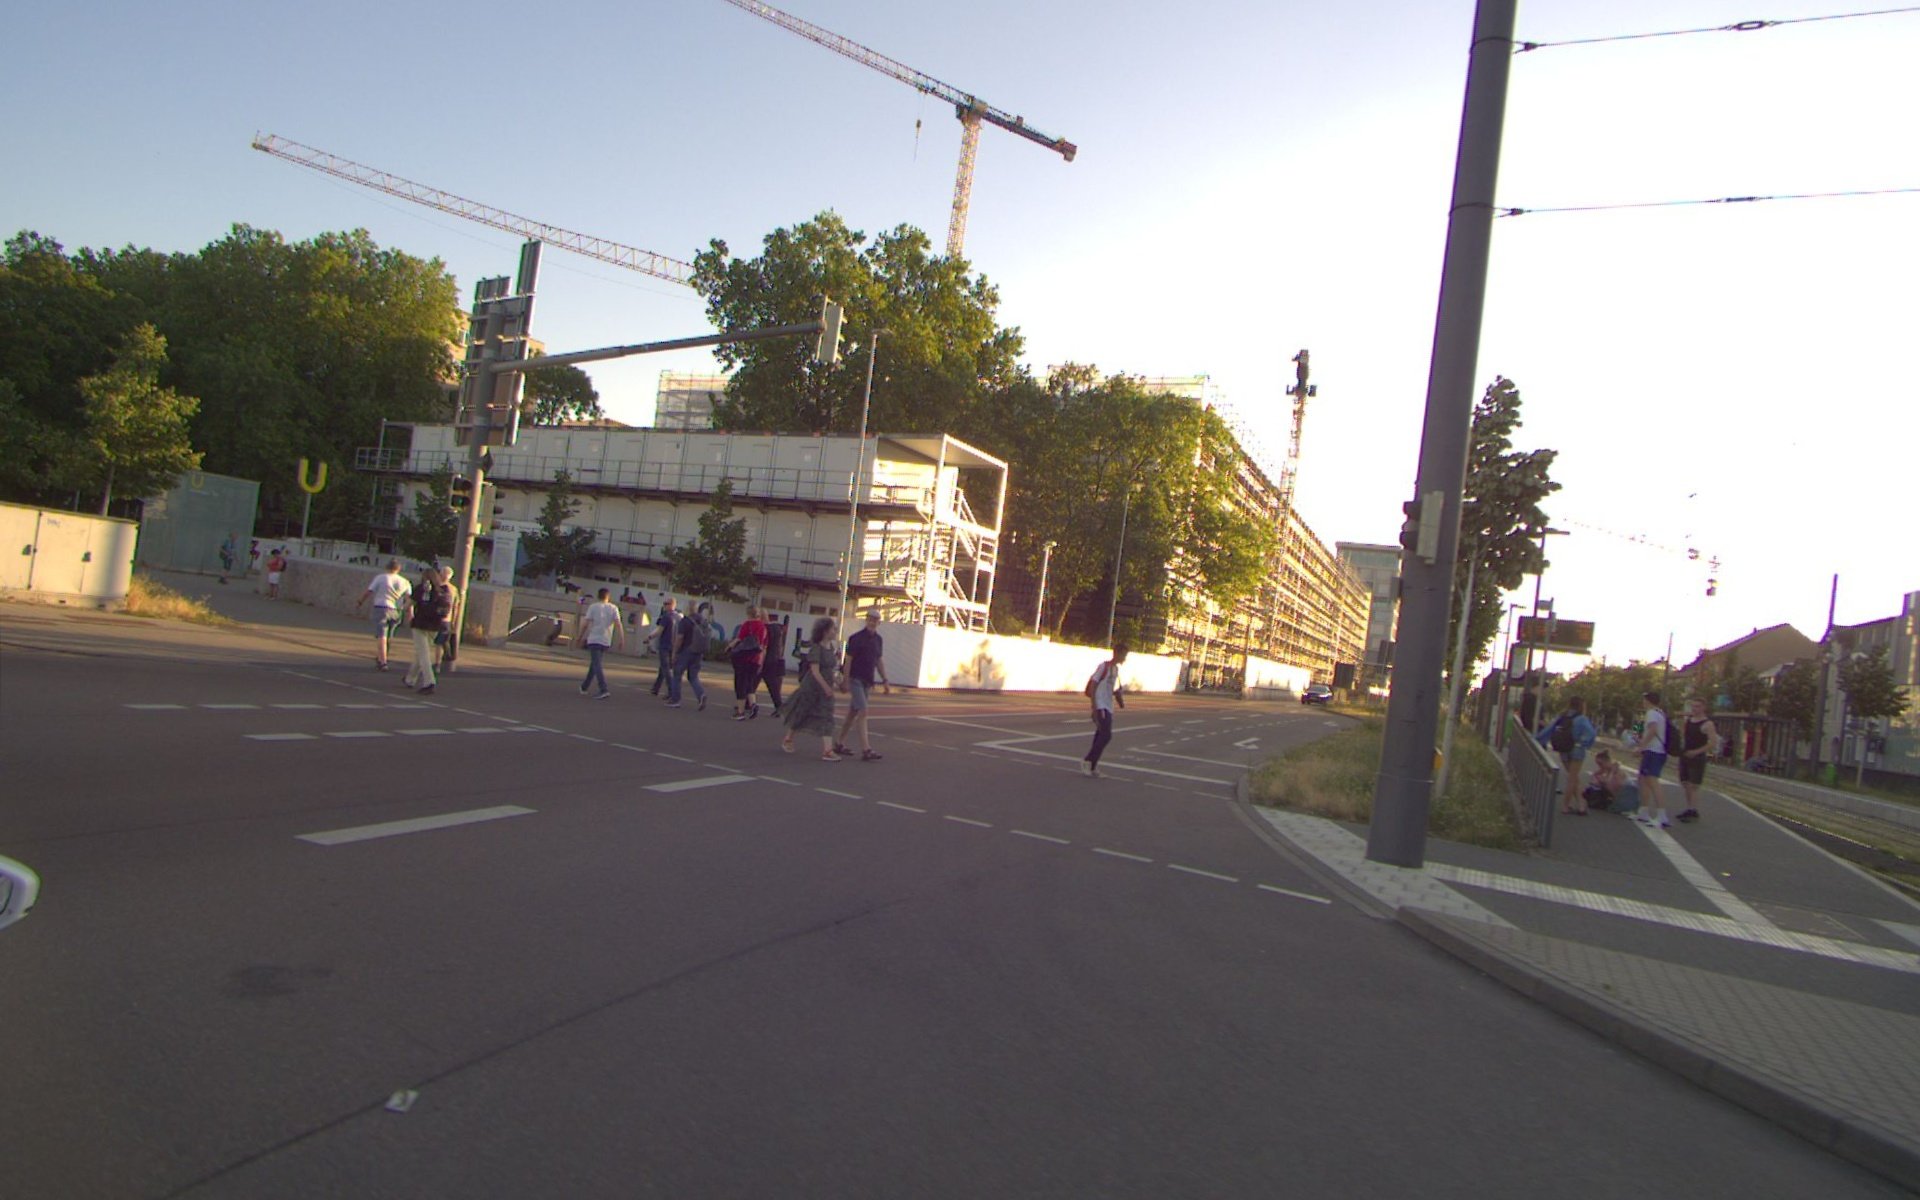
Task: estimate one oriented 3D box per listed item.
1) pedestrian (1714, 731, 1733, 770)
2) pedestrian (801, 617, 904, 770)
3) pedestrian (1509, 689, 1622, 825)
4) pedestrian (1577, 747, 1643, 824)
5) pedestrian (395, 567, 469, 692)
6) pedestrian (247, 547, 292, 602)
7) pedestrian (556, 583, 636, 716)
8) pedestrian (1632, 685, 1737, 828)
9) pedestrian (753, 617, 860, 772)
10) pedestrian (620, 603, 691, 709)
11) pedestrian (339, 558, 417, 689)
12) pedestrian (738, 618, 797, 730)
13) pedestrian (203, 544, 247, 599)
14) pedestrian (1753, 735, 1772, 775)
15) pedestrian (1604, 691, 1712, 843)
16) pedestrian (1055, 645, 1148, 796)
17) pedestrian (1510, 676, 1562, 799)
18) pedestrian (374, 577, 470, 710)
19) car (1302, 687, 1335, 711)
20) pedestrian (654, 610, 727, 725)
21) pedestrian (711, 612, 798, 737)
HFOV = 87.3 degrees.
[{"bbox_3d":[38.555,7.579,50.774,0.608,1.877,0.722,5,1,41],"label":"pedestrian"},{"bbox_3d":[-1.336,1.146,12.498,0.857,1.751,0.643,7,-1,33],"label":"pedestrian"},{"bbox_3d":[8.587,2.197,14.292,0.861,1.746,0.999,4,0,-33],"label":"pedestrian"},{"bbox_3d":[9.571,2.718,14.824,0.642,0.974,0.650,6,-1,25],"label":"pedestrian"},{"bbox_3d":[-8.680,0.496,16.549,0.609,1.956,0.643,6,-1,33],"label":"pedestrian"},{"bbox_3d":[-20.846,-0.769,30.374,0.633,1.508,0.761,8,-1,30],"label":"pedestrian"},{"bbox_3d":[-5.789,0.790,15.998,0.750,1.991,0.643,6,-2,33],"label":"pedestrian"},{"bbox_3d":[10.359,2.220,14.416,0.713,1.877,0.894,4,0,-3],"label":"pedestrian"},{"bbox_3d":[-1.814,1.107,11.911,0.857,1.679,0.643,6,-1,33],"label":"pedestrian"},{"bbox_3d":[-5.317,0.986,17.579,0.749,1.732,0.644,7,-1,27],"label":"pedestrian"},{"bbox_3d":[-9.171,0.376,15.858,0.609,1.956,0.643,6,-1,33],"label":"pedestrian"},{"bbox_3d":[-3.183,1.214,16.651,0.567,1.768,0.642,5,1,33],"label":"pedestrian"},{"bbox_3d":[-26.360,-1.026,36.083,1.031,1.836,0.815,7,-1,36],"label":"pedestrian"},{"bbox_3d":[39.661,7.661,49.724,0.608,1.877,0.722,5,1,41],"label":"pedestrian"},{"bbox_3d":[9.572,2.242,13.793,0.993,1.877,0.889,5,0,43],"label":"pedestrian"},{"bbox_3d":[1.865,1.559,13.210,0.857,1.834,0.643,5,-2,33],"label":"pedestrian"},{"bbox_3d":[9.326,2.199,16.282,0.577,1.877,0.603,4,1,32],"label":"pedestrian"},{"bbox_3d":[-7.177,0.579,13.424,0.857,1.647,0.643,7,-1,35],"label":"pedestrian"},{"bbox_3d":[27.546,7.584,77.235,1.964,1.547,4.001,7,-2,24],"label":"car"},{"bbox_3d":[-4.249,1.070,15.883,0.750,1.732,0.643,3,-3,33],"label":"pedestrian"},{"bbox_3d":[-3.057,1.107,14.979,0.857,1.732,0.643,7,-1,33],"label":"pedestrian"}]
